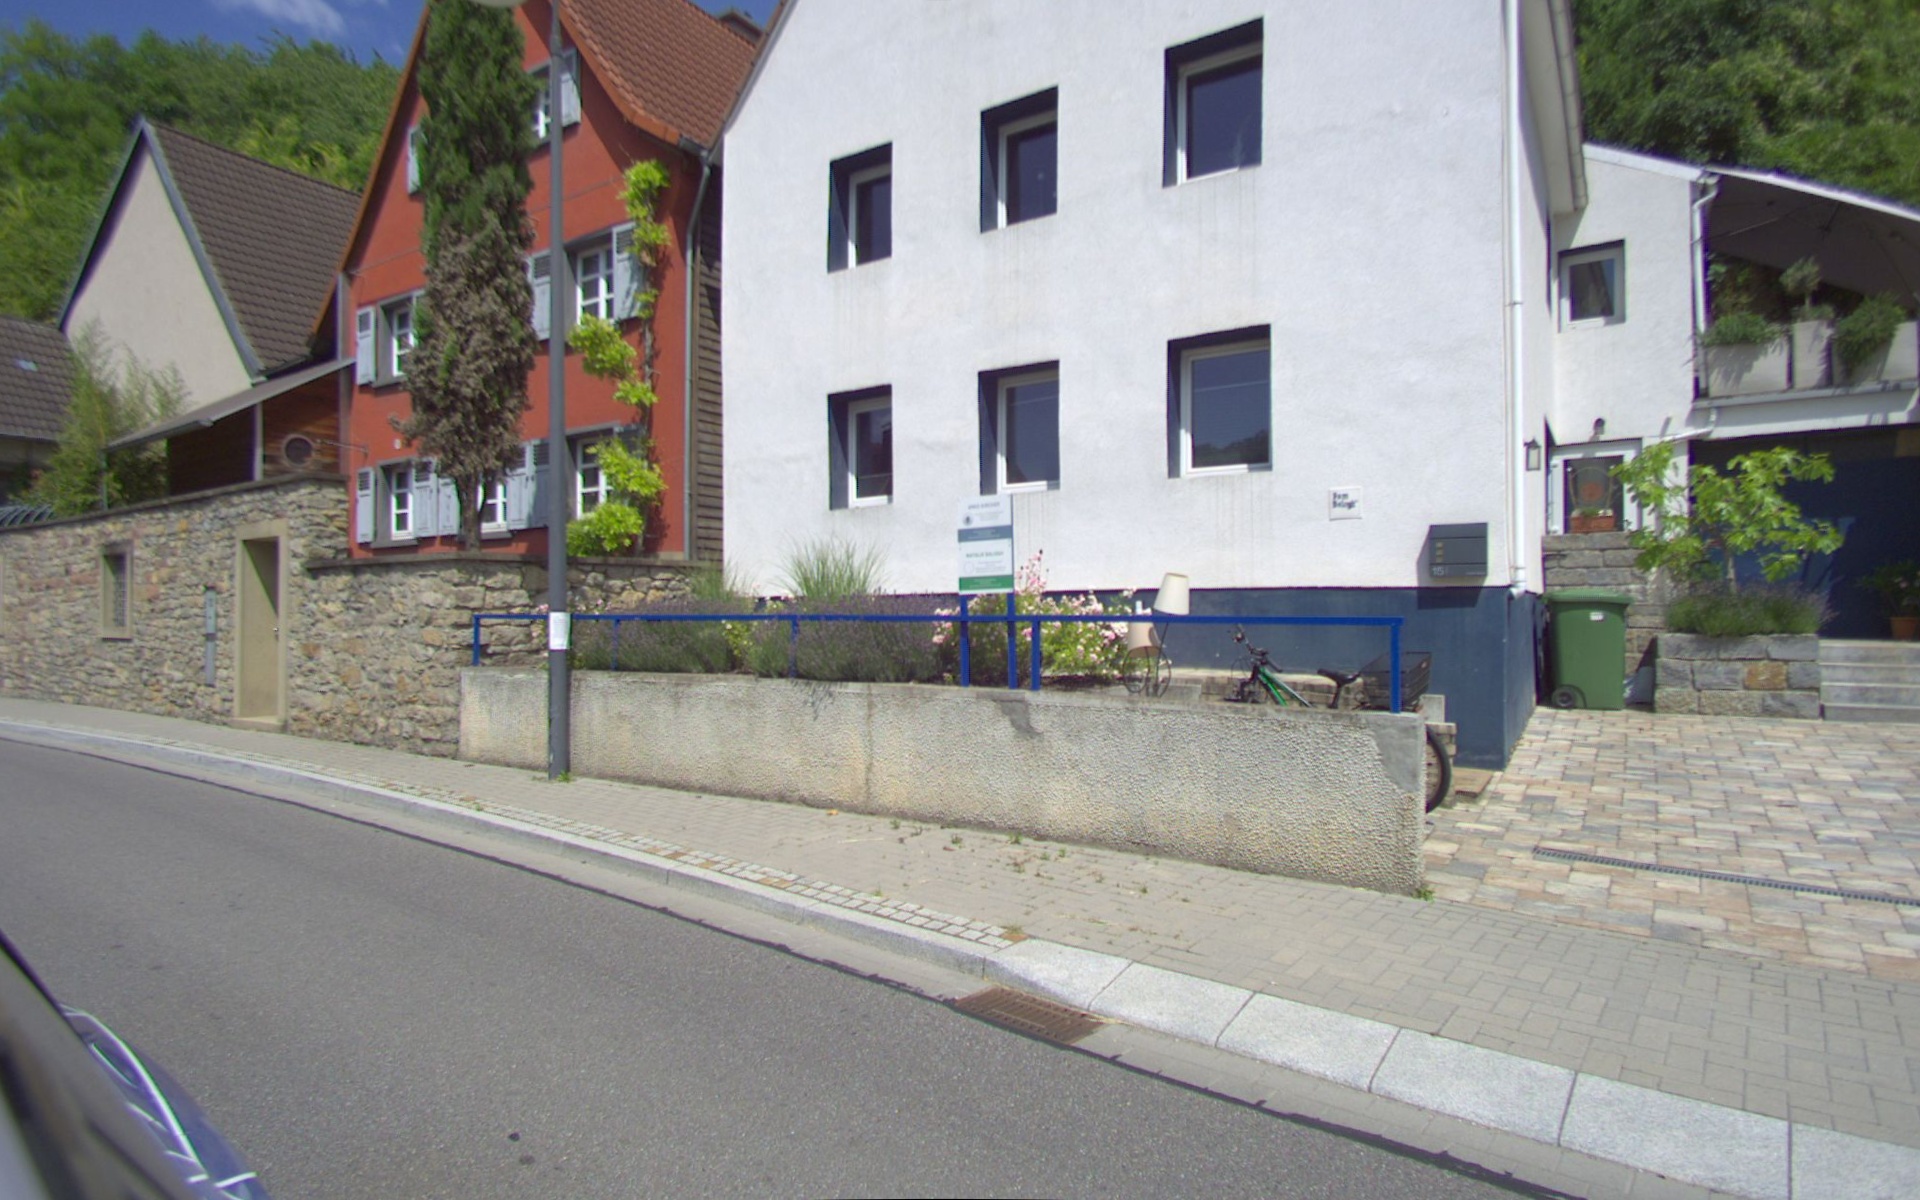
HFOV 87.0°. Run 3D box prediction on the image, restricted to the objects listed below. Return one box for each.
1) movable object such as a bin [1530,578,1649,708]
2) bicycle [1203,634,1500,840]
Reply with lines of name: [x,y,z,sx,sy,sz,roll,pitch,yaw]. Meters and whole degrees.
movable object such as a bin: [5.666,0.389,9.157,0.834,1.121,0.632,-1,-4,27]
bicycle: [2.261,0.741,5.965,1.539,0.979,0.502,0,5,43]
